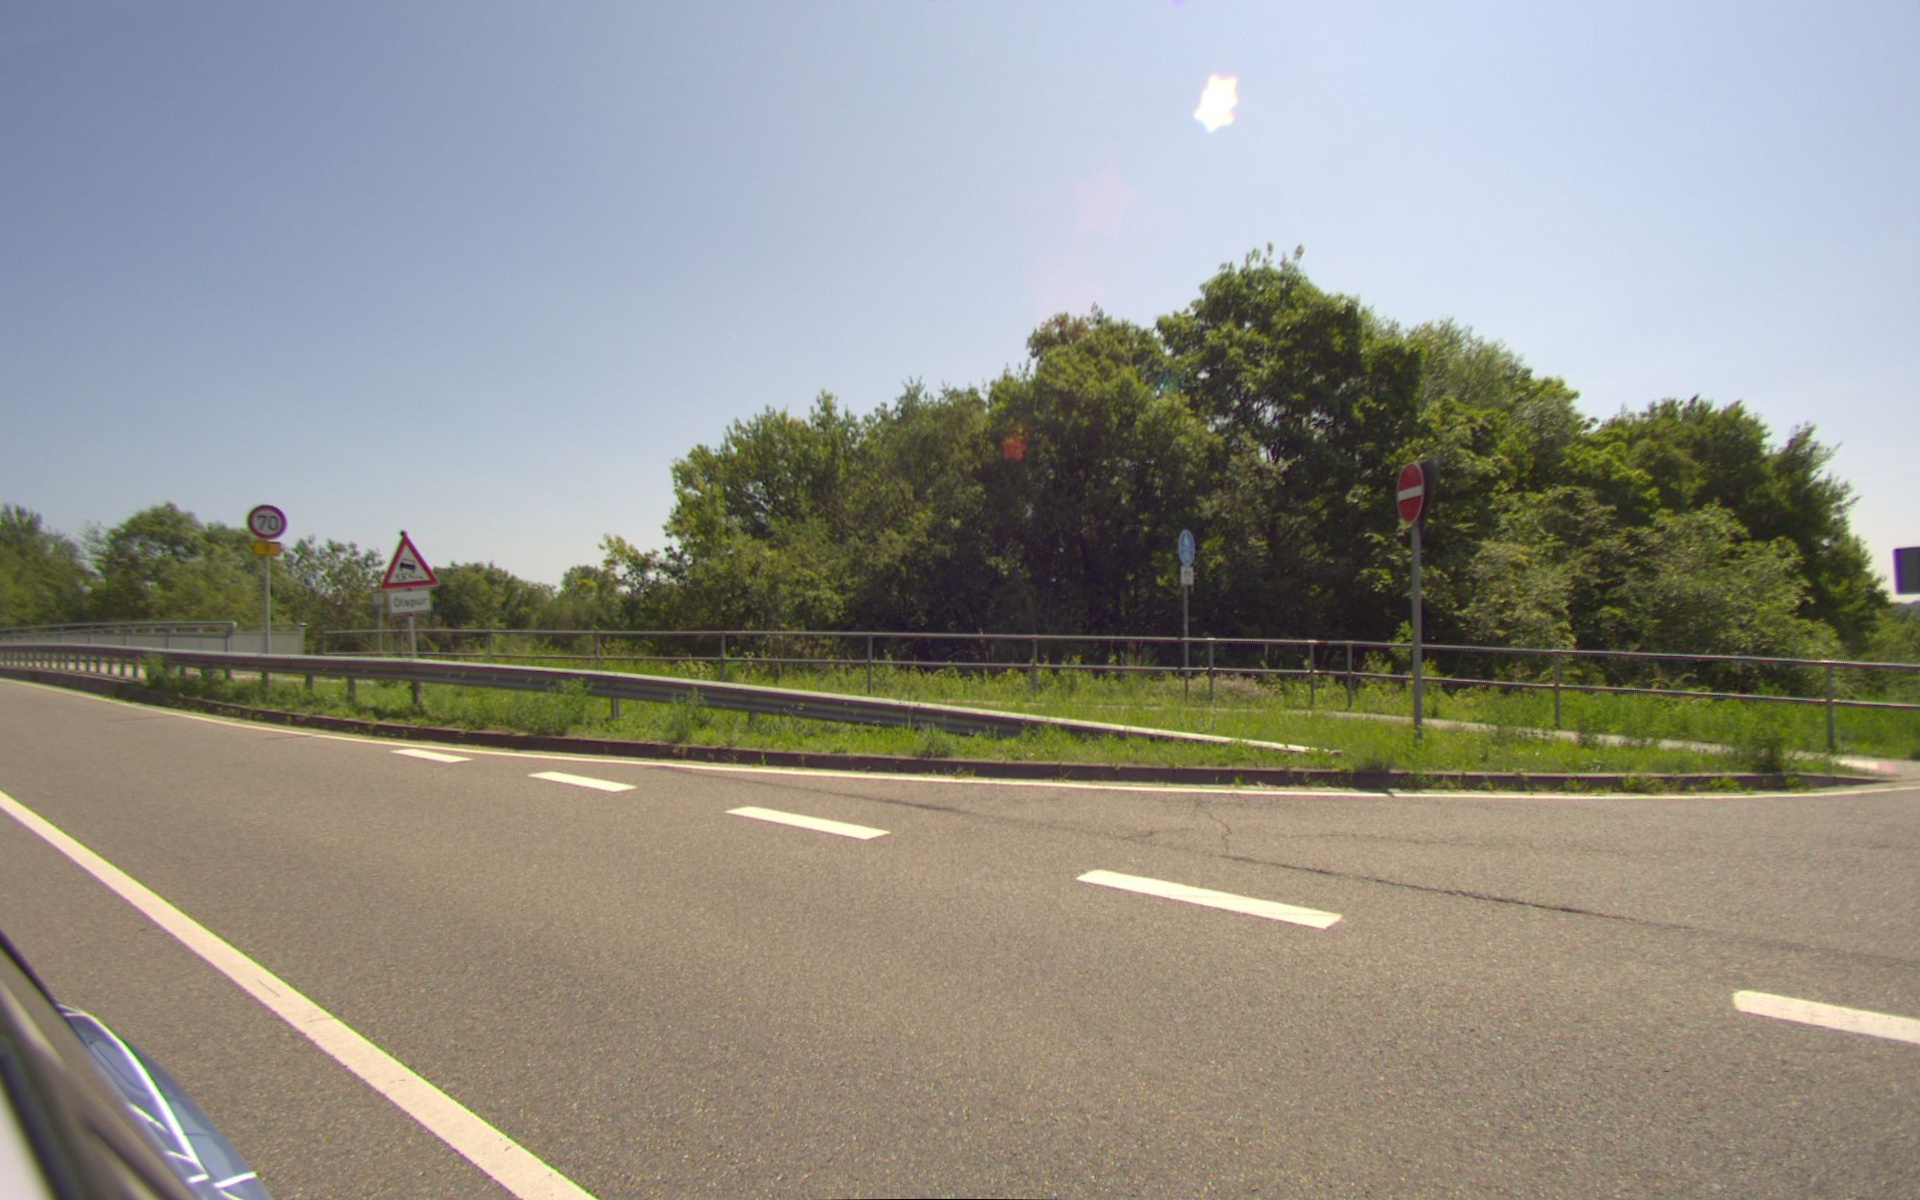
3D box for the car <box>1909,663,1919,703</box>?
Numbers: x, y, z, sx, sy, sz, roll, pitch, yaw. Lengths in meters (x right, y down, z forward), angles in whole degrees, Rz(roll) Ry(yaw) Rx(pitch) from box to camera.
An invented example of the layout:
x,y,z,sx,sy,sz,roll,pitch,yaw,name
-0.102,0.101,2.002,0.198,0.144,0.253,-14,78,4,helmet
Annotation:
x,y,z,sx,sy,sz,roll,pitch,yaw,name
69.614,5.786,70.621,2.092,2.872,5.983,-1,-6,14,car
